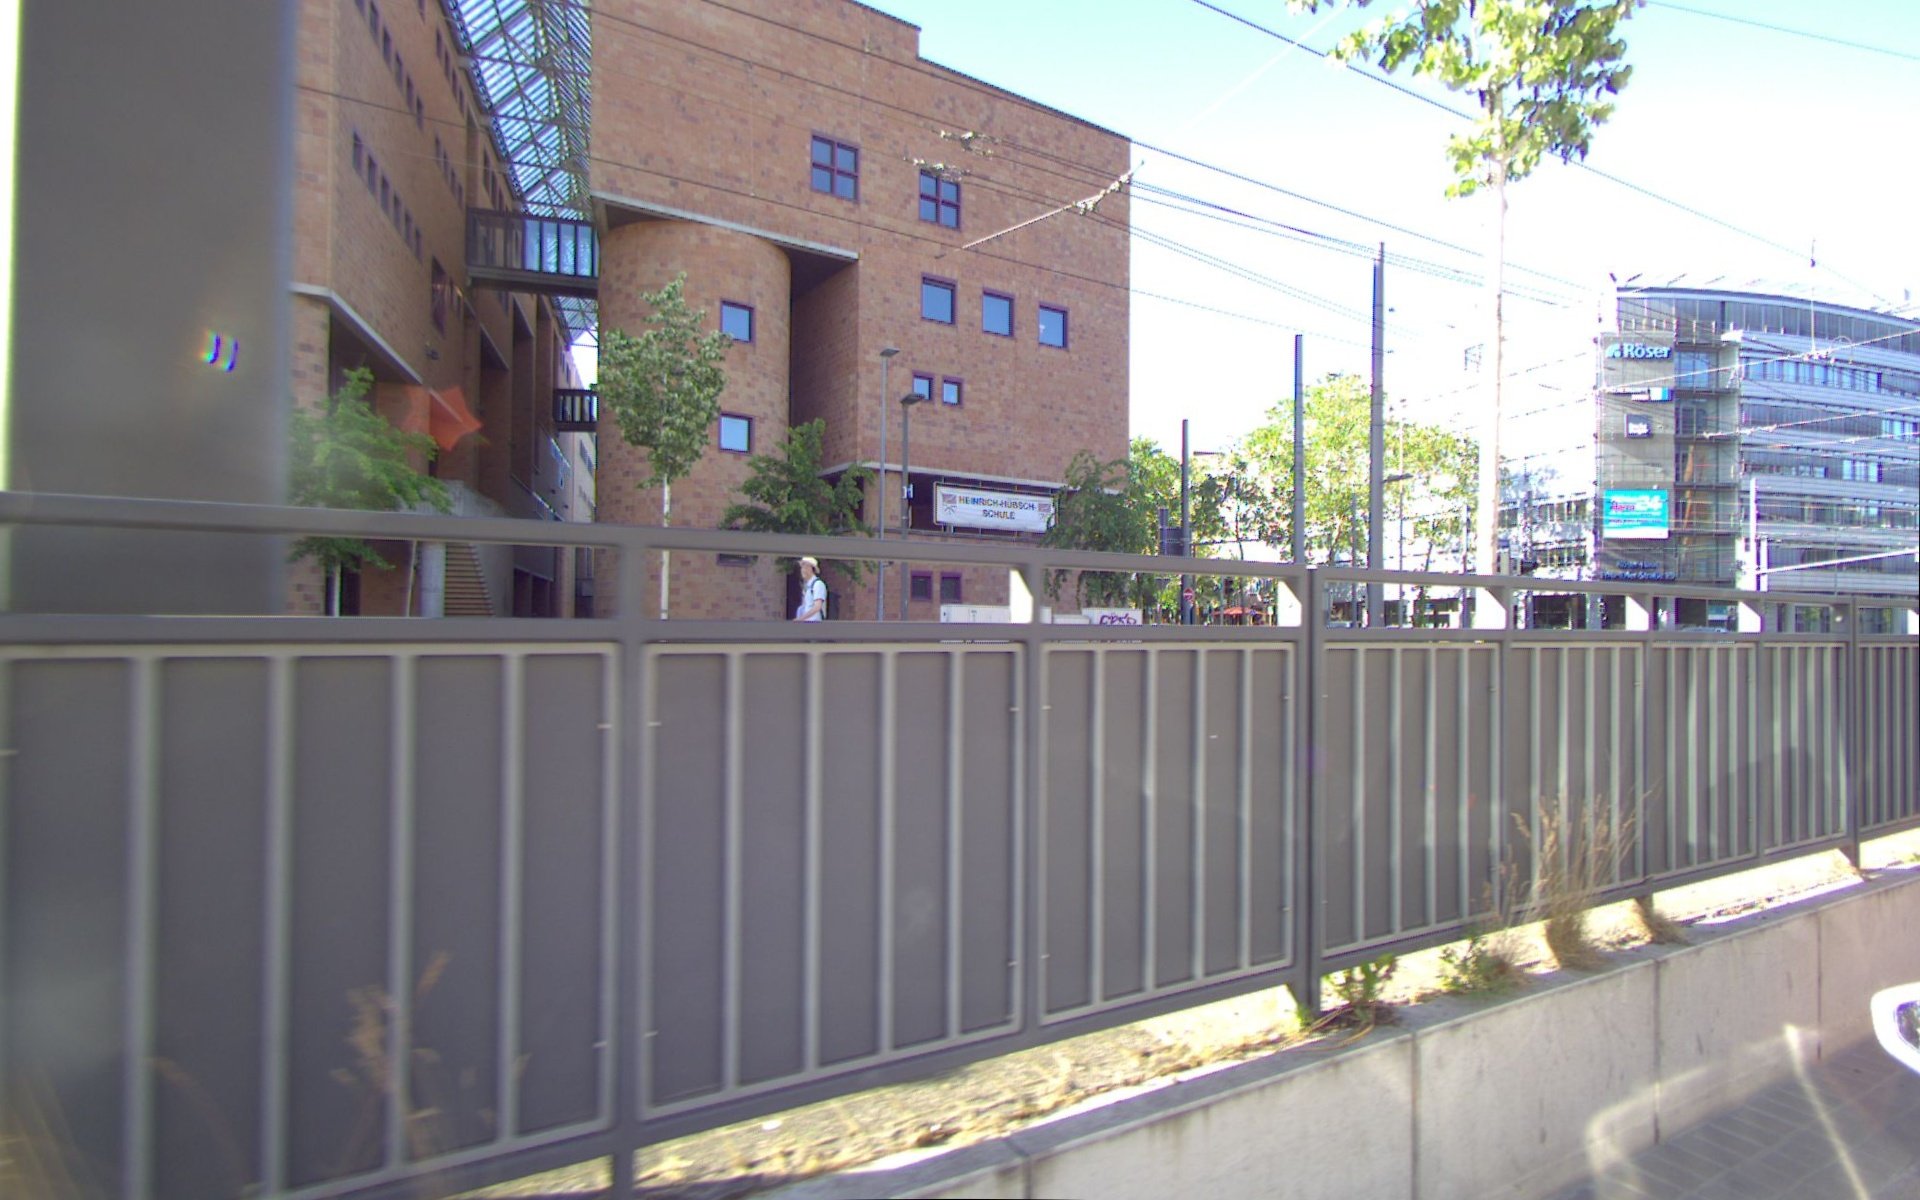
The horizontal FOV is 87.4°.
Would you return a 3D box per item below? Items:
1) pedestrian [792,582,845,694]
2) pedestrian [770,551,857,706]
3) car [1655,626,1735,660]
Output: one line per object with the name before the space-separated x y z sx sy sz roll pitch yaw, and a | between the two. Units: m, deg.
pedestrian | -2.124 0.557 15.047 0.608 1.630 0.561 1 0 -30
pedestrian | -1.817 0.348 12.431 0.886 1.841 0.611 1 0 -30
car | 33.859 1.964 46.258 3.964 1.483 1.979 1 -1 -38
